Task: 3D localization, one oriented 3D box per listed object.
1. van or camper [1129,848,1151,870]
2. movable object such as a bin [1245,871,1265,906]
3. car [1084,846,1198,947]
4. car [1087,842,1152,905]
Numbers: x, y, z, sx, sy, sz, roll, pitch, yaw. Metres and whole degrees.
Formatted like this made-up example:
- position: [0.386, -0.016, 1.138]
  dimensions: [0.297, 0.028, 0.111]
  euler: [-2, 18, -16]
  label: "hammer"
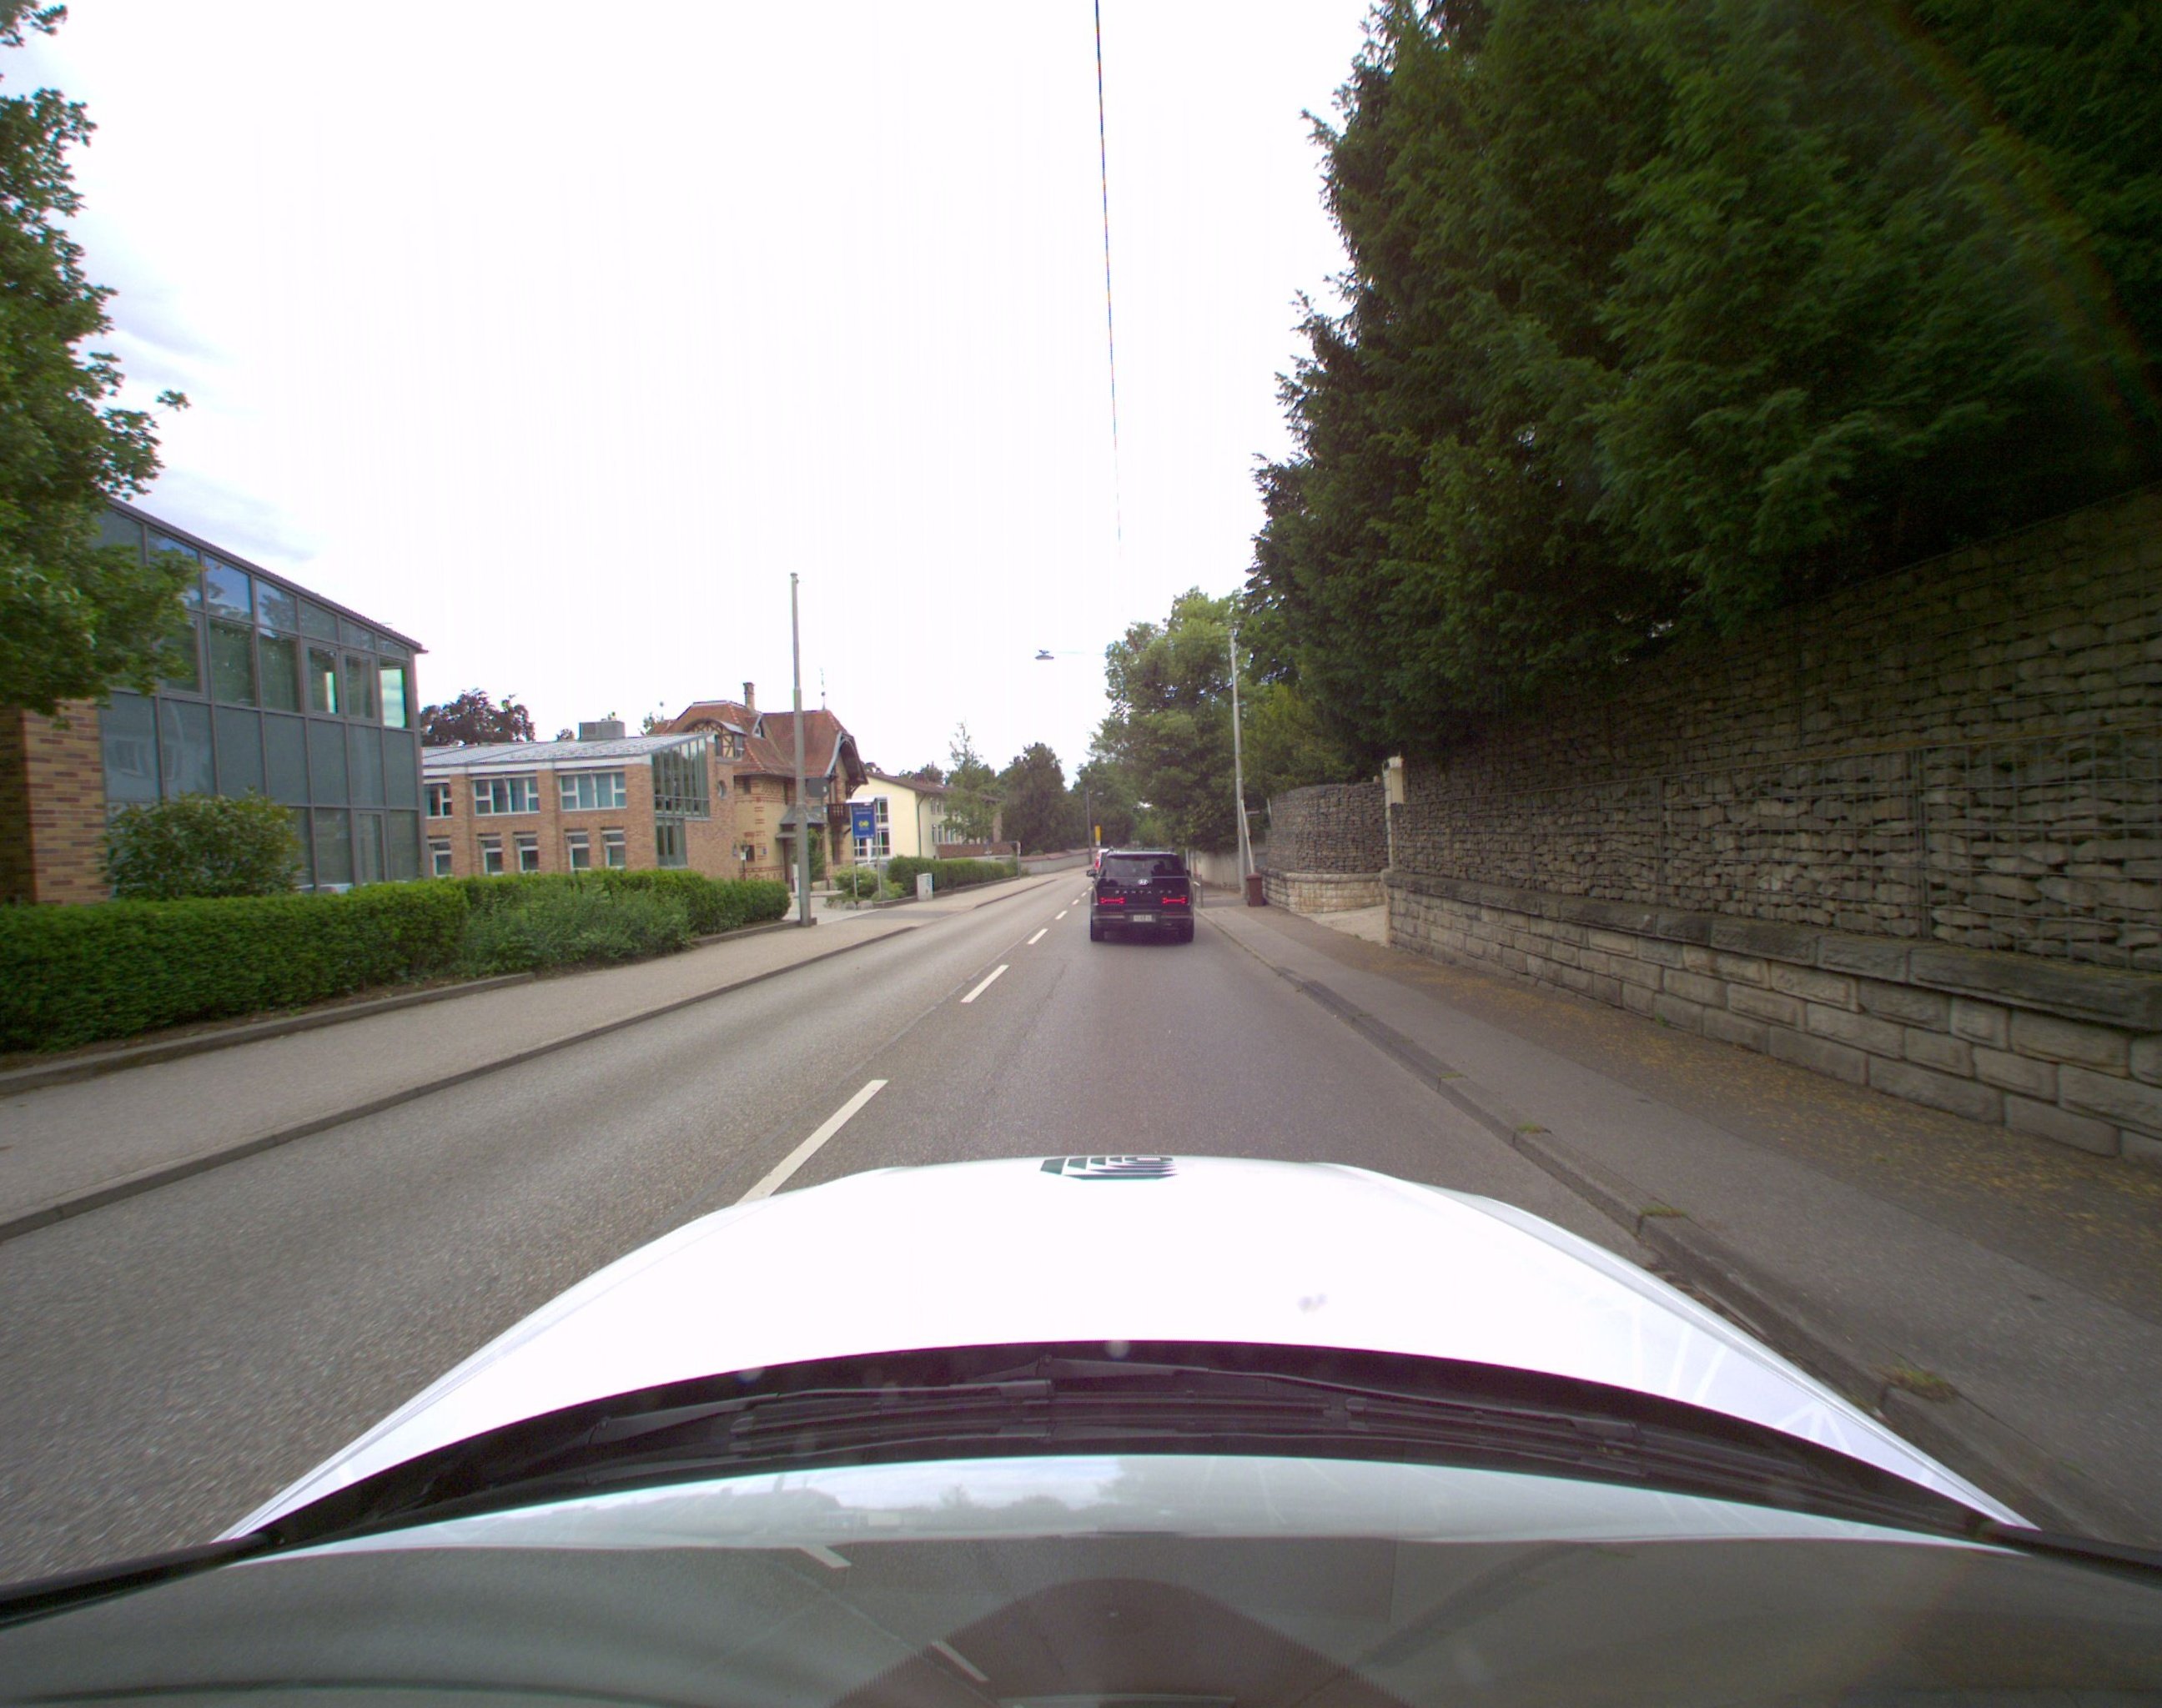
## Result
- position: [6.160, 0.497, 84.819]
  dimensions: [1.665, 2.007, 3.951]
  euler: [-3, 1, 11]
  label: "van or camper"
- position: [4.794, 0.953, 22.466]
  dimensions: [0.442, 0.910, 0.395]
  euler: [-6, -1, 12]
  label: "movable object such as a bin"
- position: [1.154, 0.727, 16.100]
  dimensions: [1.949, 1.713, 4.227]
  euler: [0, 0, 3]
  label: "car"
- position: [1.253, 0.603, 28.291]
  dimensions: [1.952, 1.955, 4.221]
  euler: [0, 2, -2]
  label: "car"
